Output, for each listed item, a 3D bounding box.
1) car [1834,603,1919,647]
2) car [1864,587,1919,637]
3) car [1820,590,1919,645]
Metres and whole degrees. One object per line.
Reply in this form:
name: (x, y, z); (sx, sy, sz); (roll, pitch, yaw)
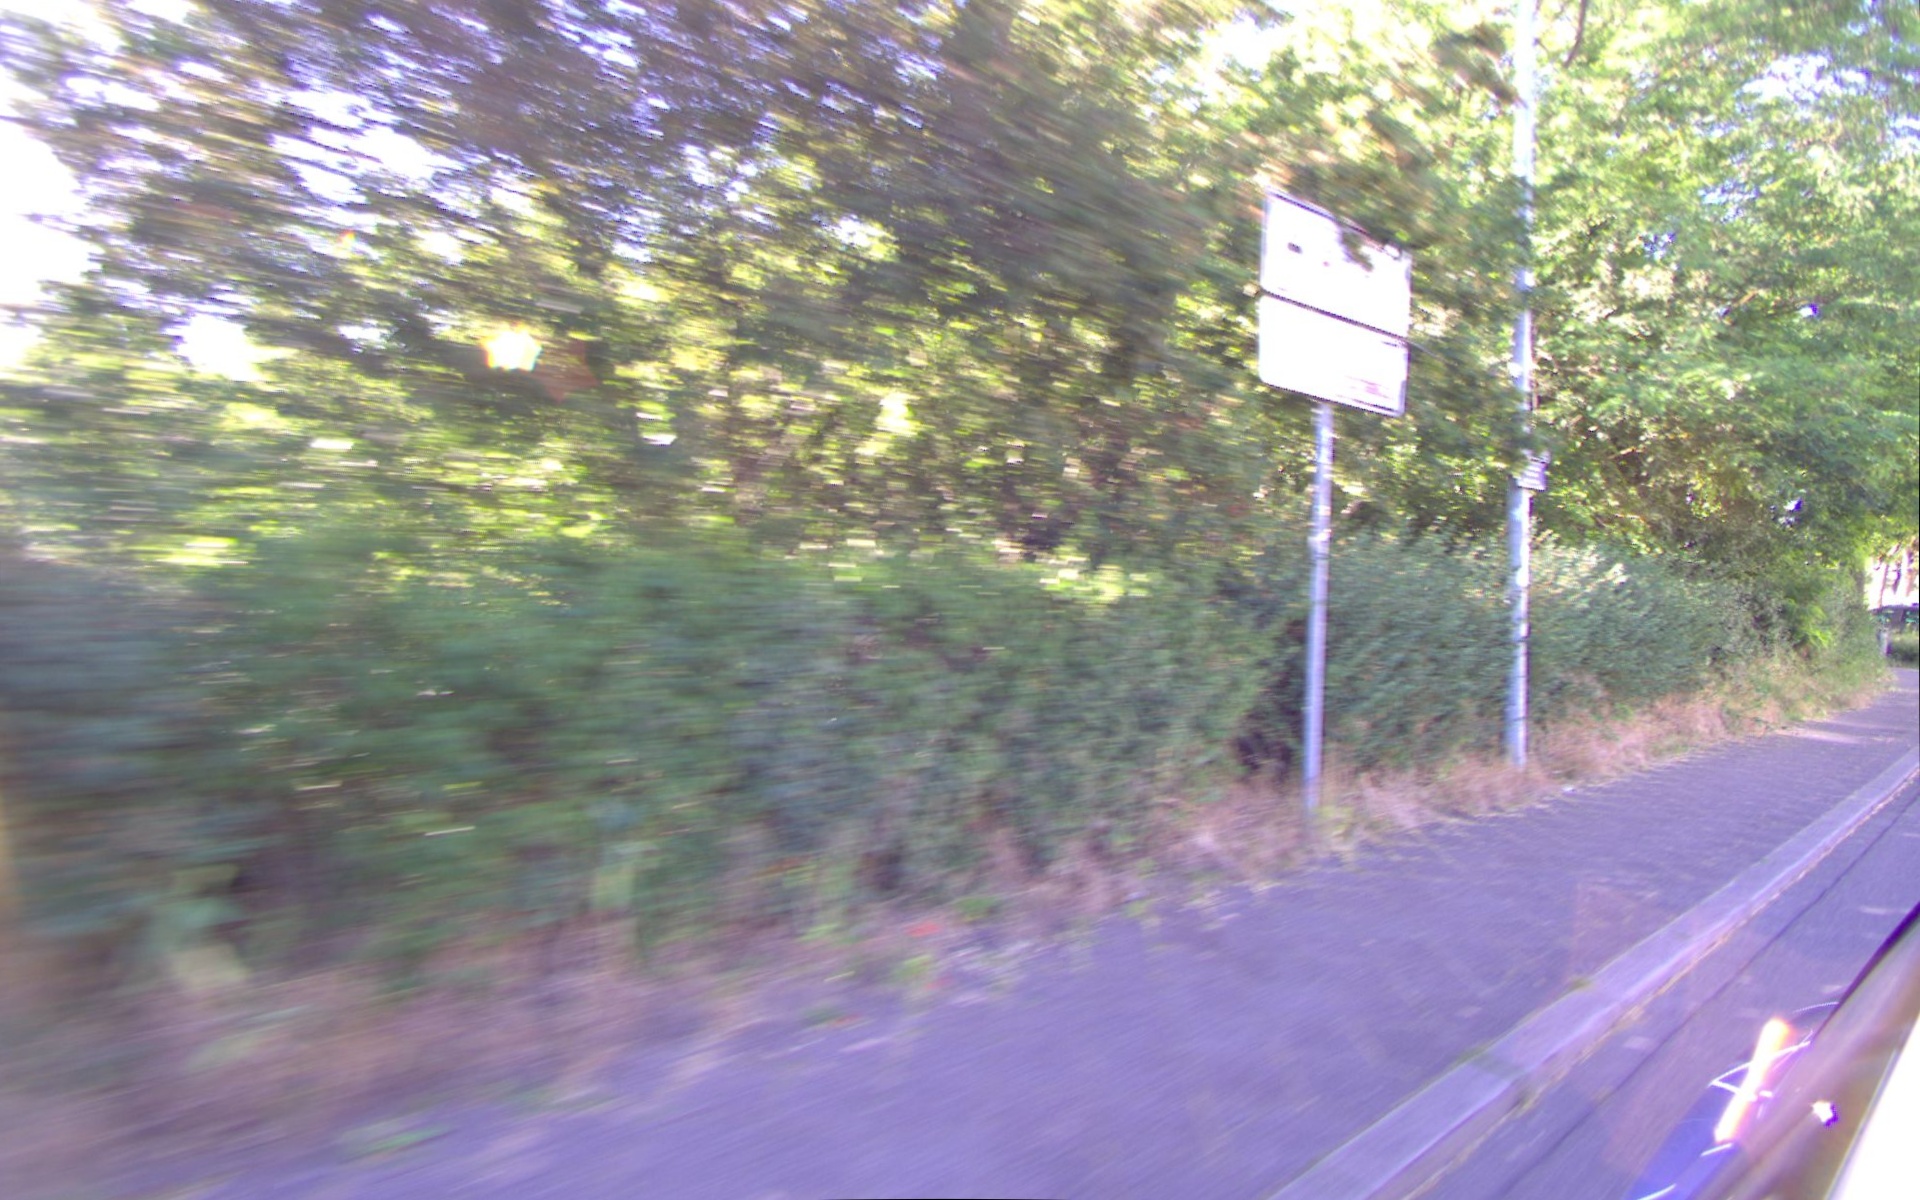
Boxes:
car: (33.523, 0.904, 35.293); (1.745, 1.431, 4.456); (1, 2, -43)
car: (40.734, 0.544, 42.072); (1.986, 2.041, 4.458); (1, 2, -42)
car: (31.470, 0.587, 33.653); (1.744, 1.716, 4.156); (1, 1, -41)
